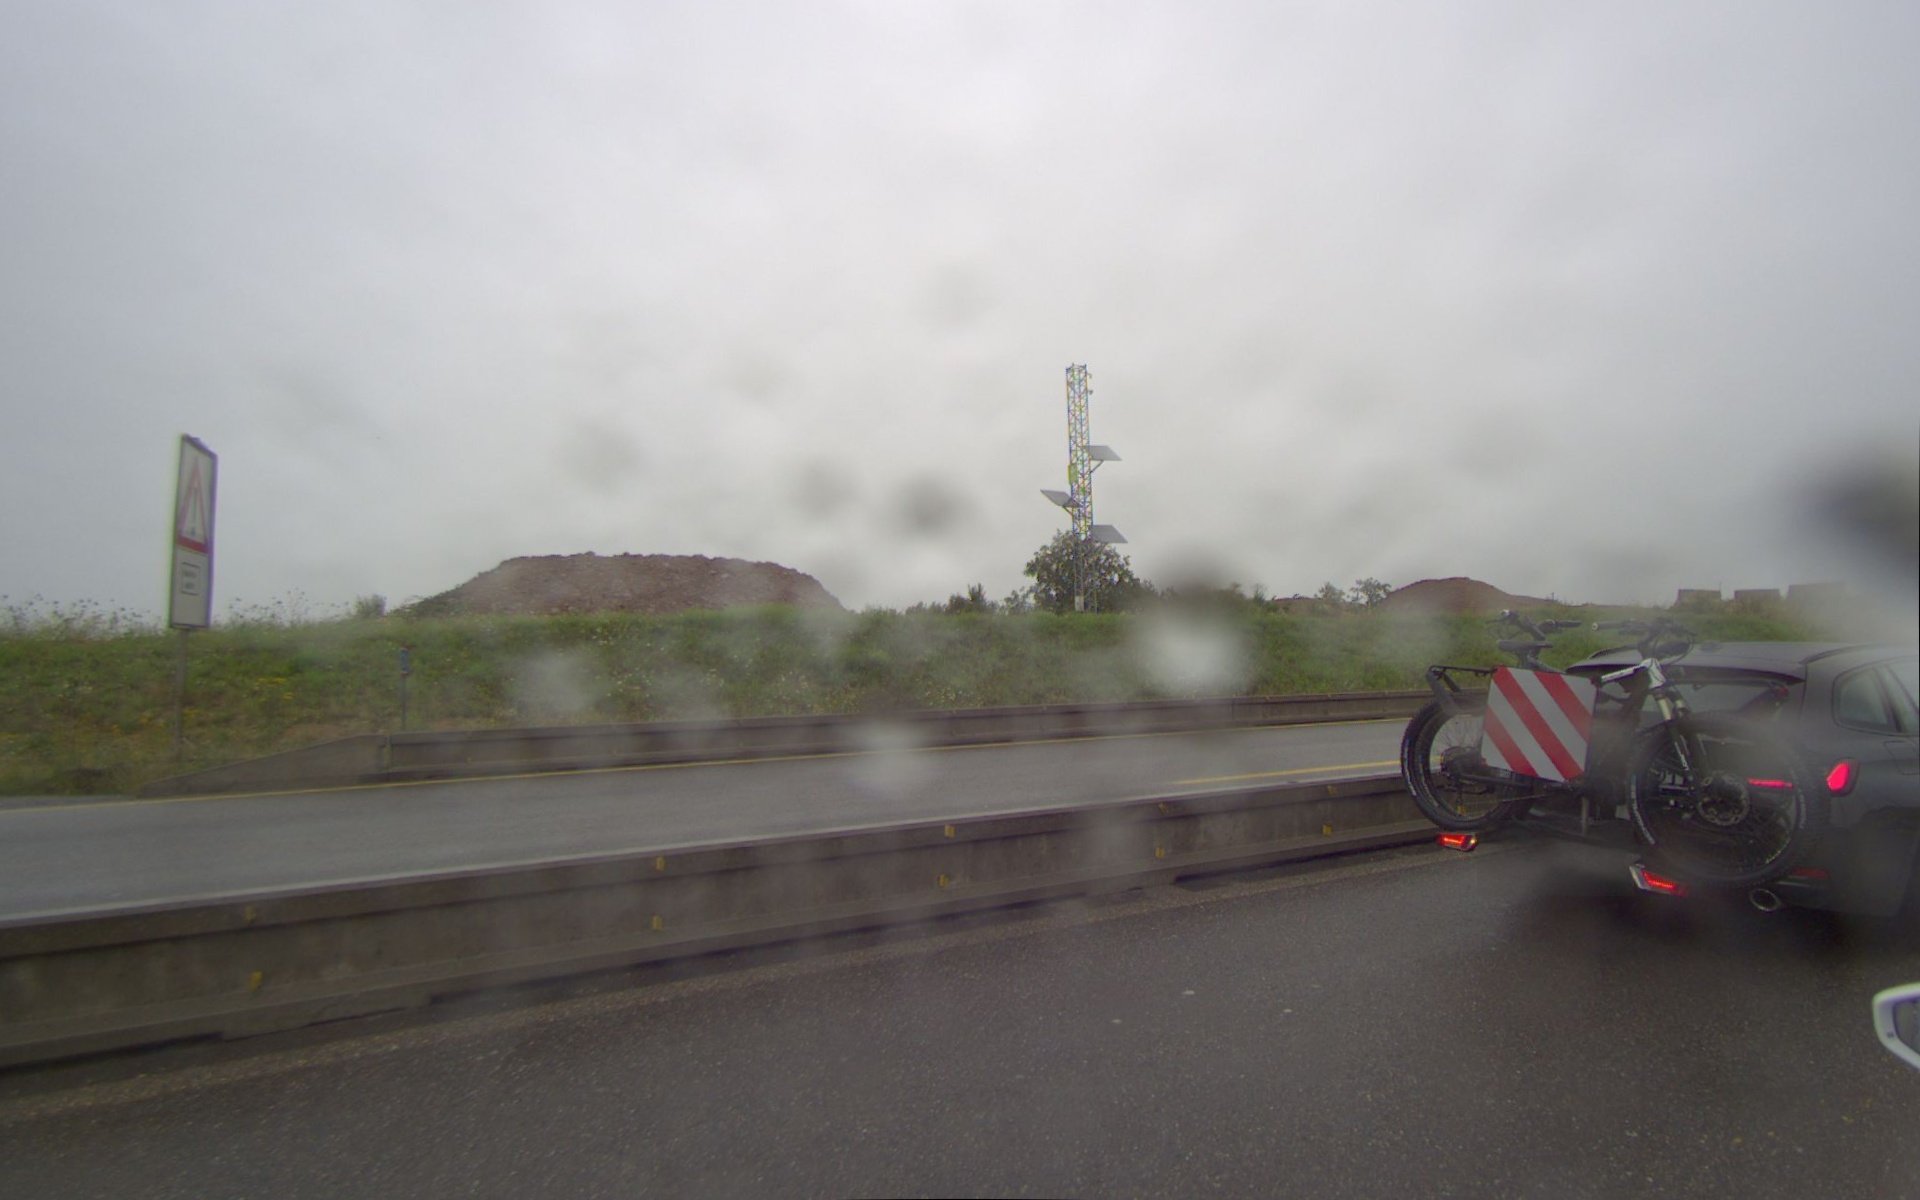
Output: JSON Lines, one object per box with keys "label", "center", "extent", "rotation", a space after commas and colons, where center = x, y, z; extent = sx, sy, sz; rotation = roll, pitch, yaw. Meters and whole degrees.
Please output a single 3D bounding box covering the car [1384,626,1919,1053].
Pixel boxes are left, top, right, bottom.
{"label": "car", "center": [5.053, 0.946, 5.897], "extent": [5.562, 1.482, 1.727], "rotation": [0, -1, -30]}
